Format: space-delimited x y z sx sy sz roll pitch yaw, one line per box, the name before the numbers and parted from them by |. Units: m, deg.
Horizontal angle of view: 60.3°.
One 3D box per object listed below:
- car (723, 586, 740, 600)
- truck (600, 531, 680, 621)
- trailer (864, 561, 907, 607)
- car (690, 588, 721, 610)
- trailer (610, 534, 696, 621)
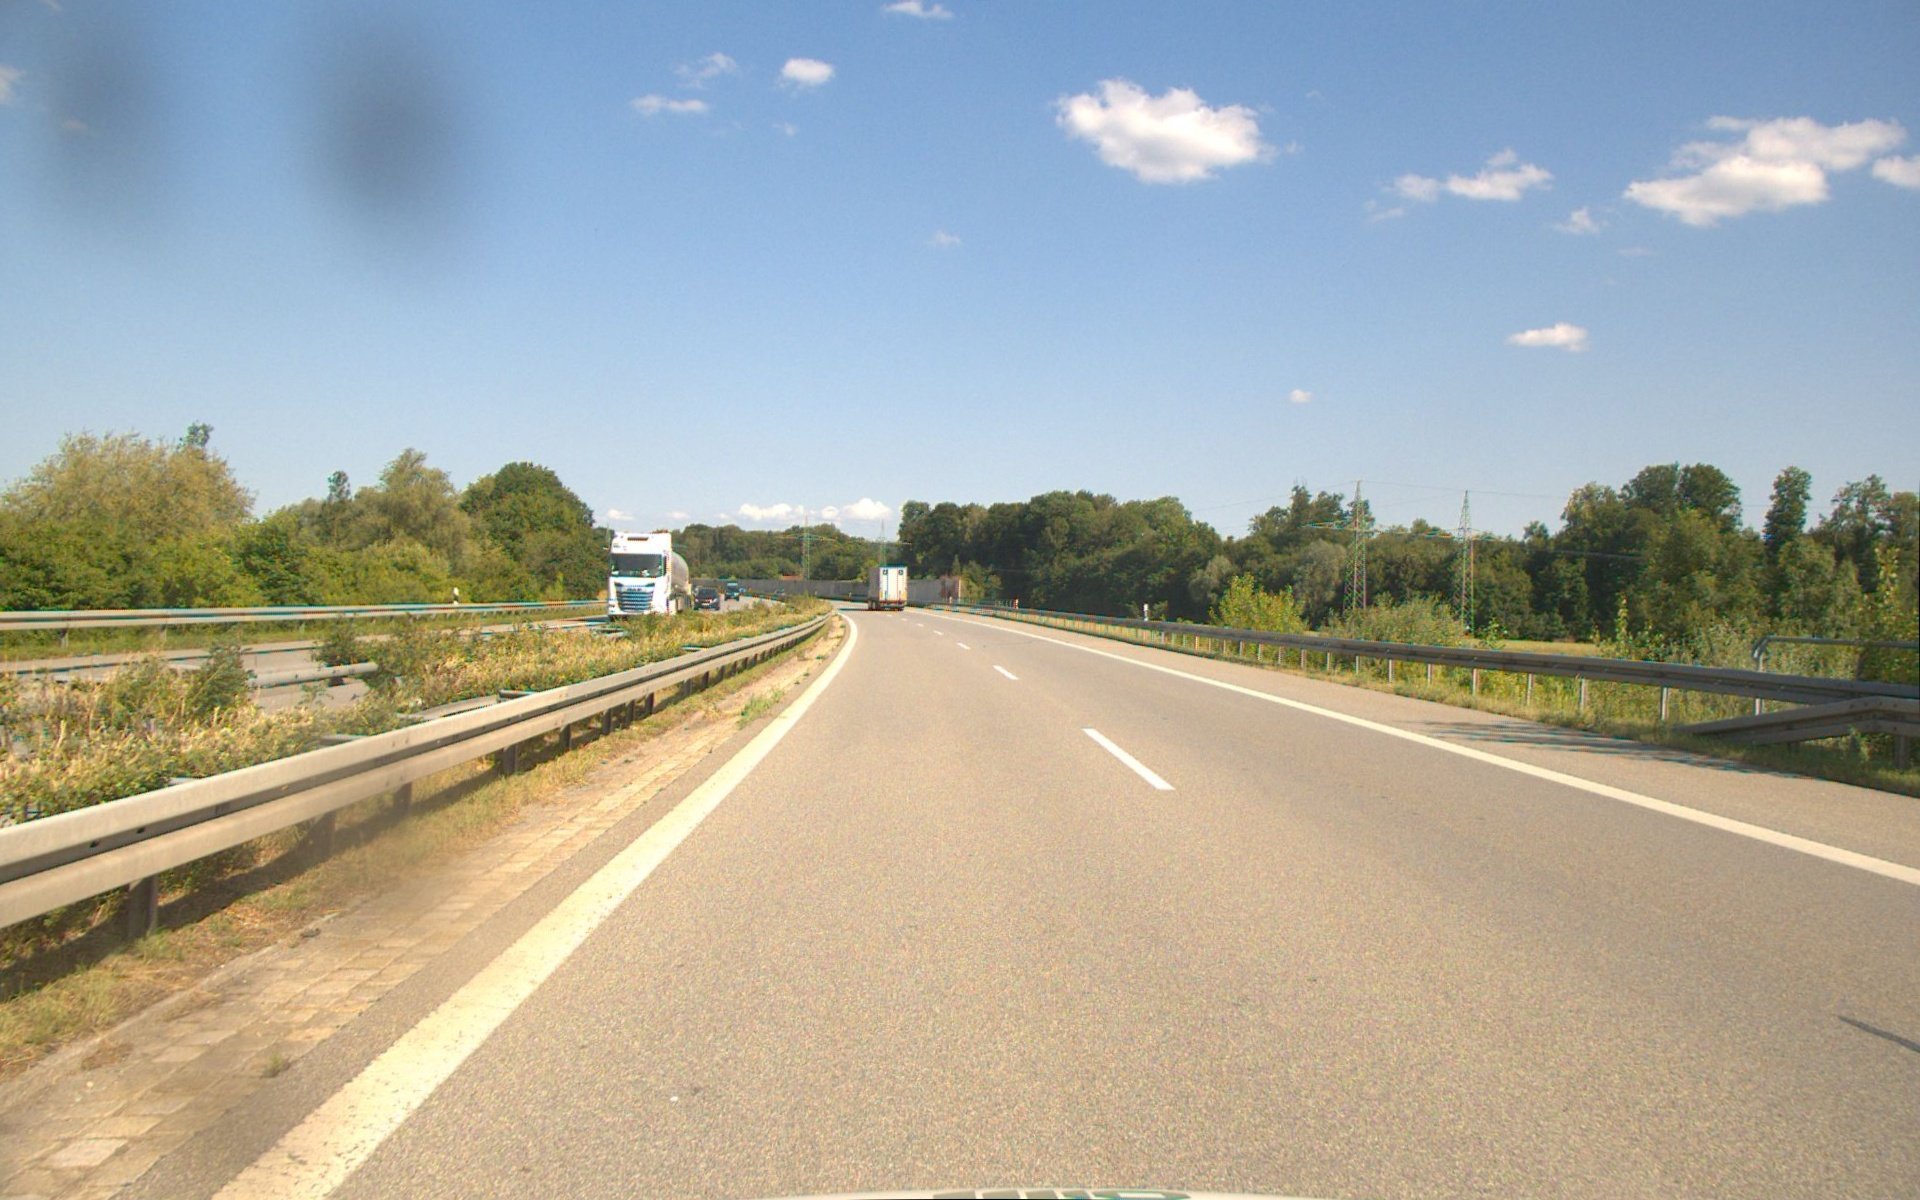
car | -29.286 -0.924 212.073 1.957 1.708 5.305 0 1 -10
truck | -13.969 -1.016 72.595 2.687 3.792 5.967 0 0 -4
trailer | -7.068 -1.505 155.650 2.830 4.137 12.397 0 0 -8
car | -18.653 -0.080 121.224 1.954 1.582 4.415 0 0 -5
trailer | -14.326 -0.987 77.865 2.687 3.792 10.904 0 0 -4
